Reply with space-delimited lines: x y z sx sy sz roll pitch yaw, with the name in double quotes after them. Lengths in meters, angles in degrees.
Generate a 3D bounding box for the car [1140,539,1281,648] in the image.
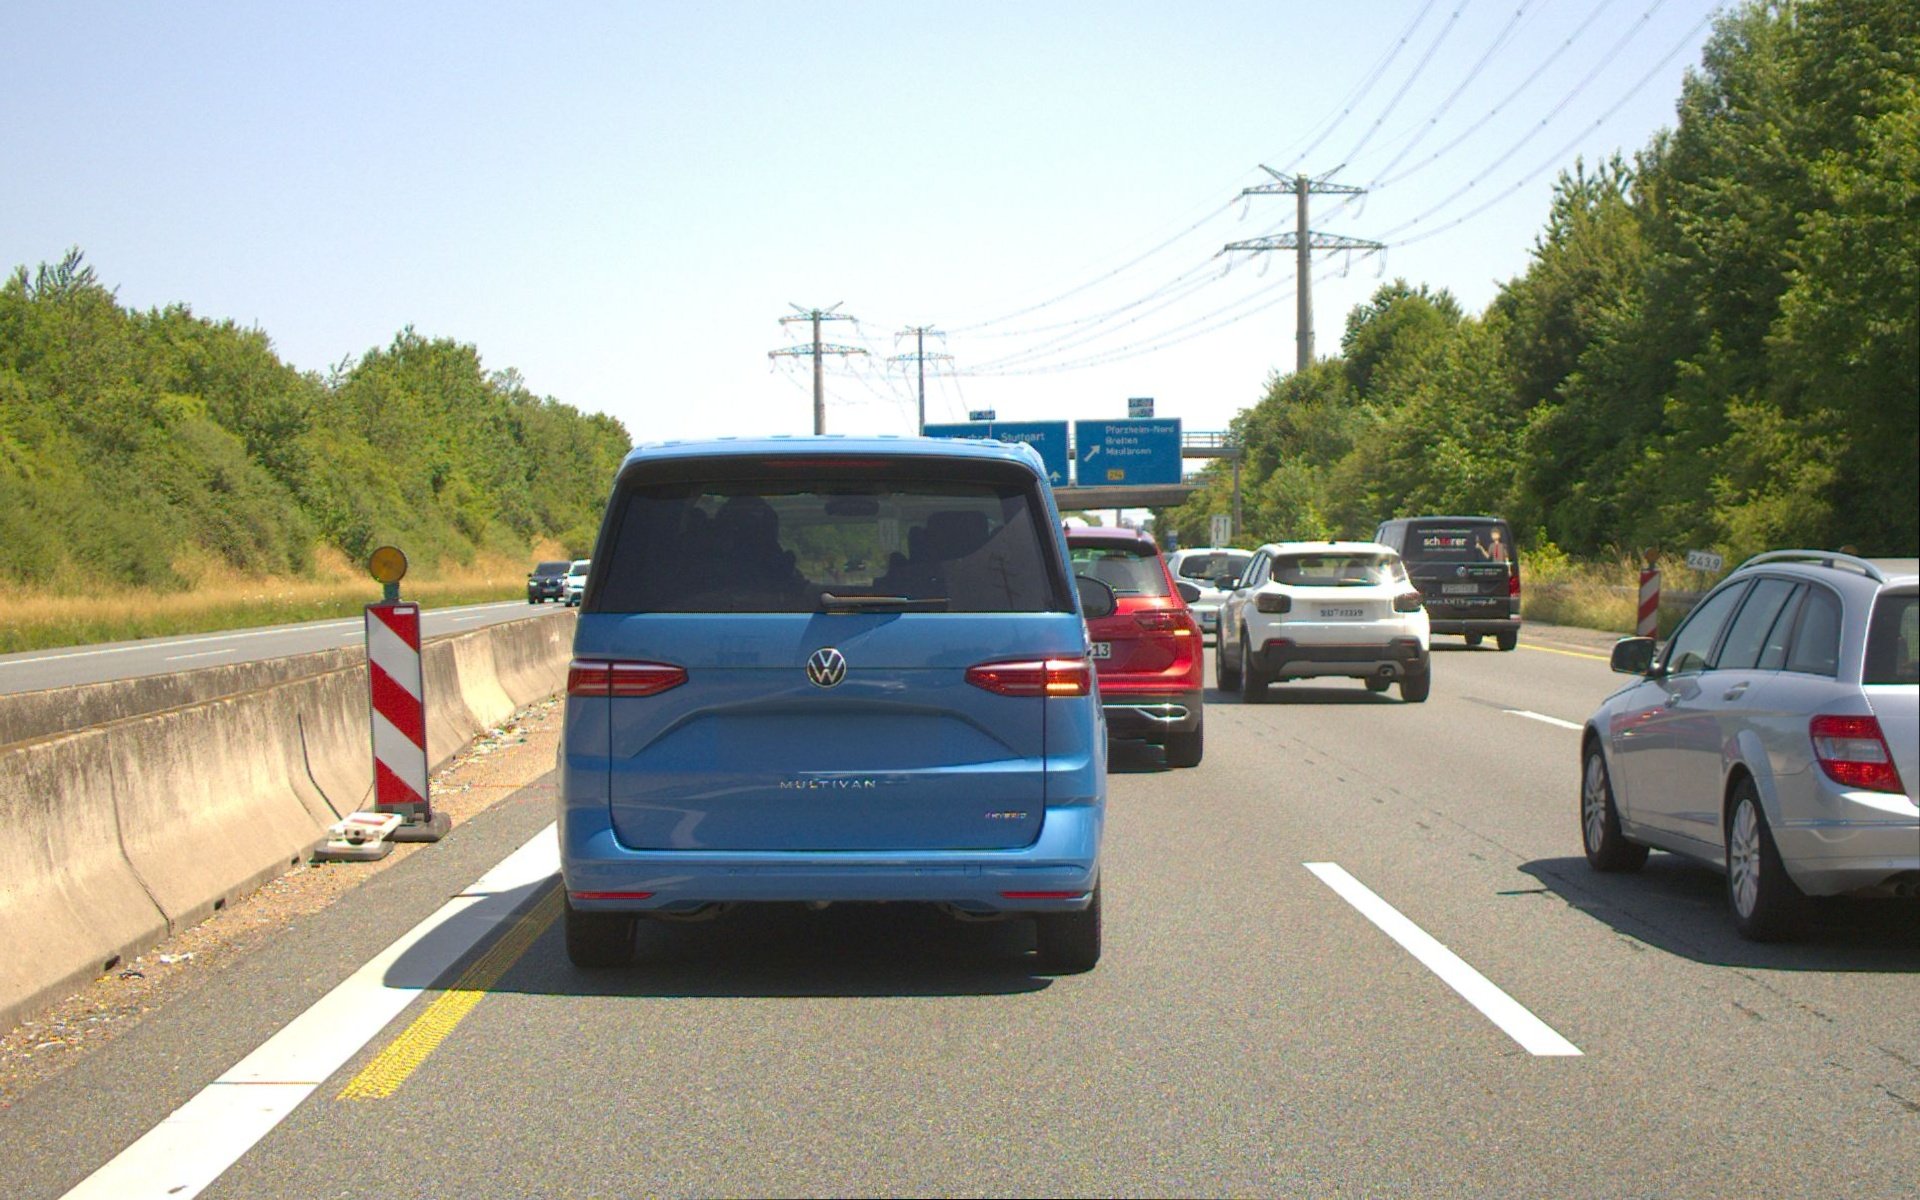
3.811 -0.128 52.939 1.797 1.588 4.227 1 1 -1 "car"

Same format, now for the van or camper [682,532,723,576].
-16.643 -2.991 222.687 2.222 2.701 7.081 -3 1 -2 "van or camper"

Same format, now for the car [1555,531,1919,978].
3.719 0.506 13.847 1.770 1.512 4.360 1 1 -1 "car"

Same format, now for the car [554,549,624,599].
-12.848 -0.912 119.201 1.993 1.656 4.230 -1 1 -1 "car"

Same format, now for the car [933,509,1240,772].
0.799 0.231 24.277 1.874 1.665 4.360 1 1 -1 "car"

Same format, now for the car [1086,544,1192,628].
3.503 -0.291 67.805 1.797 1.588 4.227 1 1 -1 "car"

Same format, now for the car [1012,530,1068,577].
2.770 -1.609 119.795 1.797 1.588 4.227 1 1 -1 "car"

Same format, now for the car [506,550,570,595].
-17.149 -1.133 139.899 1.993 1.644 4.630 -3 1 0 "car"

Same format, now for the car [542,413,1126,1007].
-0.463 0.332 13.368 1.874 1.905 4.360 1 1 -1 "car"

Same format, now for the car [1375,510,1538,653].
7.330 -0.291 51.094 1.797 2.007 4.227 1 1 0 "car"

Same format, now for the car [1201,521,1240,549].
15.696 -3.911 207.469 1.874 1.665 4.360 1 1 -1 "car"

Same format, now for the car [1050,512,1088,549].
7.332 -4.690 231.422 2.377 2.420 4.227 1 1 -1 "car"

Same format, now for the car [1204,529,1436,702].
3.499 0.120 34.114 1.797 1.588 4.227 1 1 -1 "car"
